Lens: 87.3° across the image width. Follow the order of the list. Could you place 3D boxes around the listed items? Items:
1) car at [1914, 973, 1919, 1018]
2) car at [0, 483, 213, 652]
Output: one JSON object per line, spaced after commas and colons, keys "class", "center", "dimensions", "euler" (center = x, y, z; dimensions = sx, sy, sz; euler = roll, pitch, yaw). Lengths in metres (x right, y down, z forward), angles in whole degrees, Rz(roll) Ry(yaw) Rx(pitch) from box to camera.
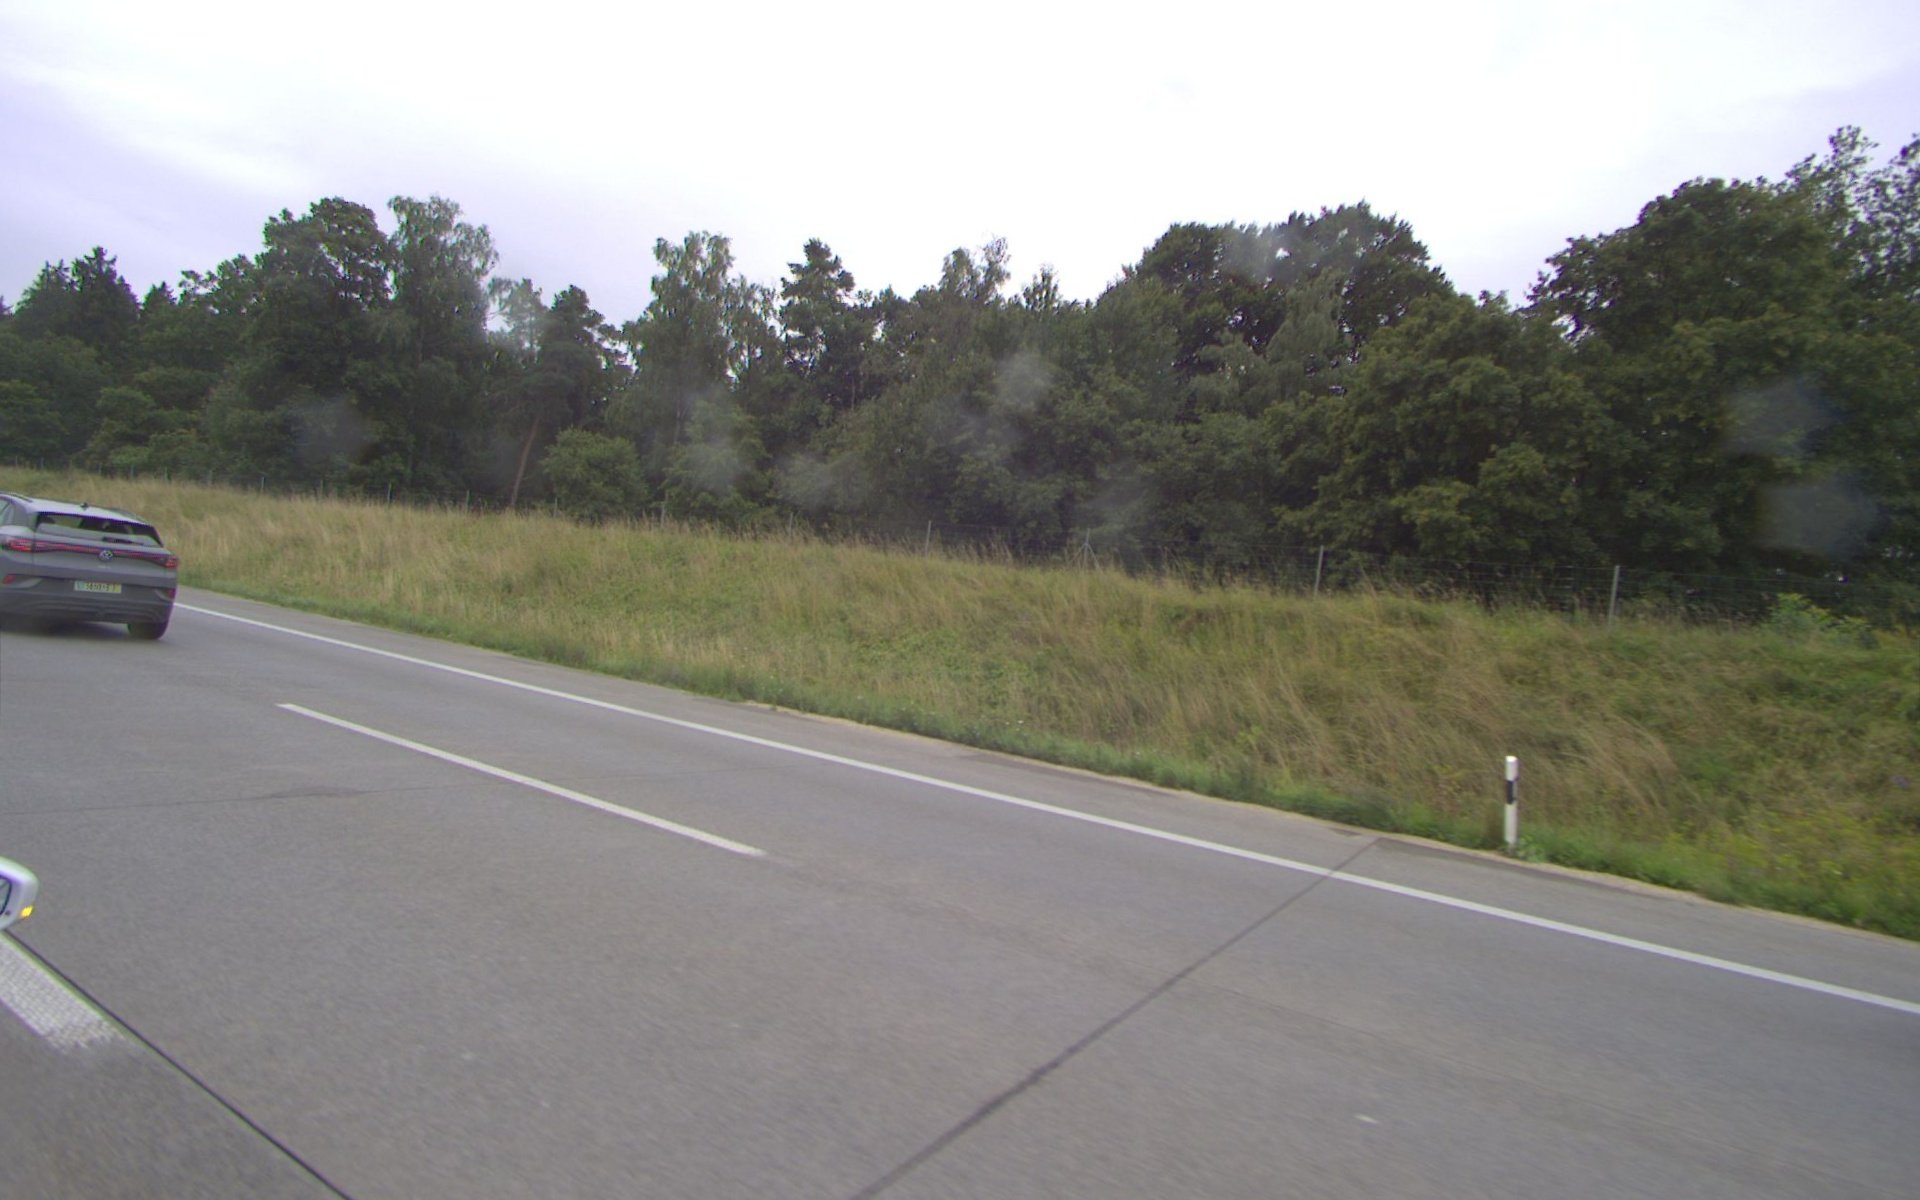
{"class": "car", "center": [6.779, 1.824, 4.349], "dimensions": [3.445, 1.488, 1.488], "euler": [8, 0, 31]}
{"class": "car", "center": [-12.150, -0.596, 13.180], "dimensions": [5.179, 1.709, 1.901], "euler": [8, -1, 32]}
